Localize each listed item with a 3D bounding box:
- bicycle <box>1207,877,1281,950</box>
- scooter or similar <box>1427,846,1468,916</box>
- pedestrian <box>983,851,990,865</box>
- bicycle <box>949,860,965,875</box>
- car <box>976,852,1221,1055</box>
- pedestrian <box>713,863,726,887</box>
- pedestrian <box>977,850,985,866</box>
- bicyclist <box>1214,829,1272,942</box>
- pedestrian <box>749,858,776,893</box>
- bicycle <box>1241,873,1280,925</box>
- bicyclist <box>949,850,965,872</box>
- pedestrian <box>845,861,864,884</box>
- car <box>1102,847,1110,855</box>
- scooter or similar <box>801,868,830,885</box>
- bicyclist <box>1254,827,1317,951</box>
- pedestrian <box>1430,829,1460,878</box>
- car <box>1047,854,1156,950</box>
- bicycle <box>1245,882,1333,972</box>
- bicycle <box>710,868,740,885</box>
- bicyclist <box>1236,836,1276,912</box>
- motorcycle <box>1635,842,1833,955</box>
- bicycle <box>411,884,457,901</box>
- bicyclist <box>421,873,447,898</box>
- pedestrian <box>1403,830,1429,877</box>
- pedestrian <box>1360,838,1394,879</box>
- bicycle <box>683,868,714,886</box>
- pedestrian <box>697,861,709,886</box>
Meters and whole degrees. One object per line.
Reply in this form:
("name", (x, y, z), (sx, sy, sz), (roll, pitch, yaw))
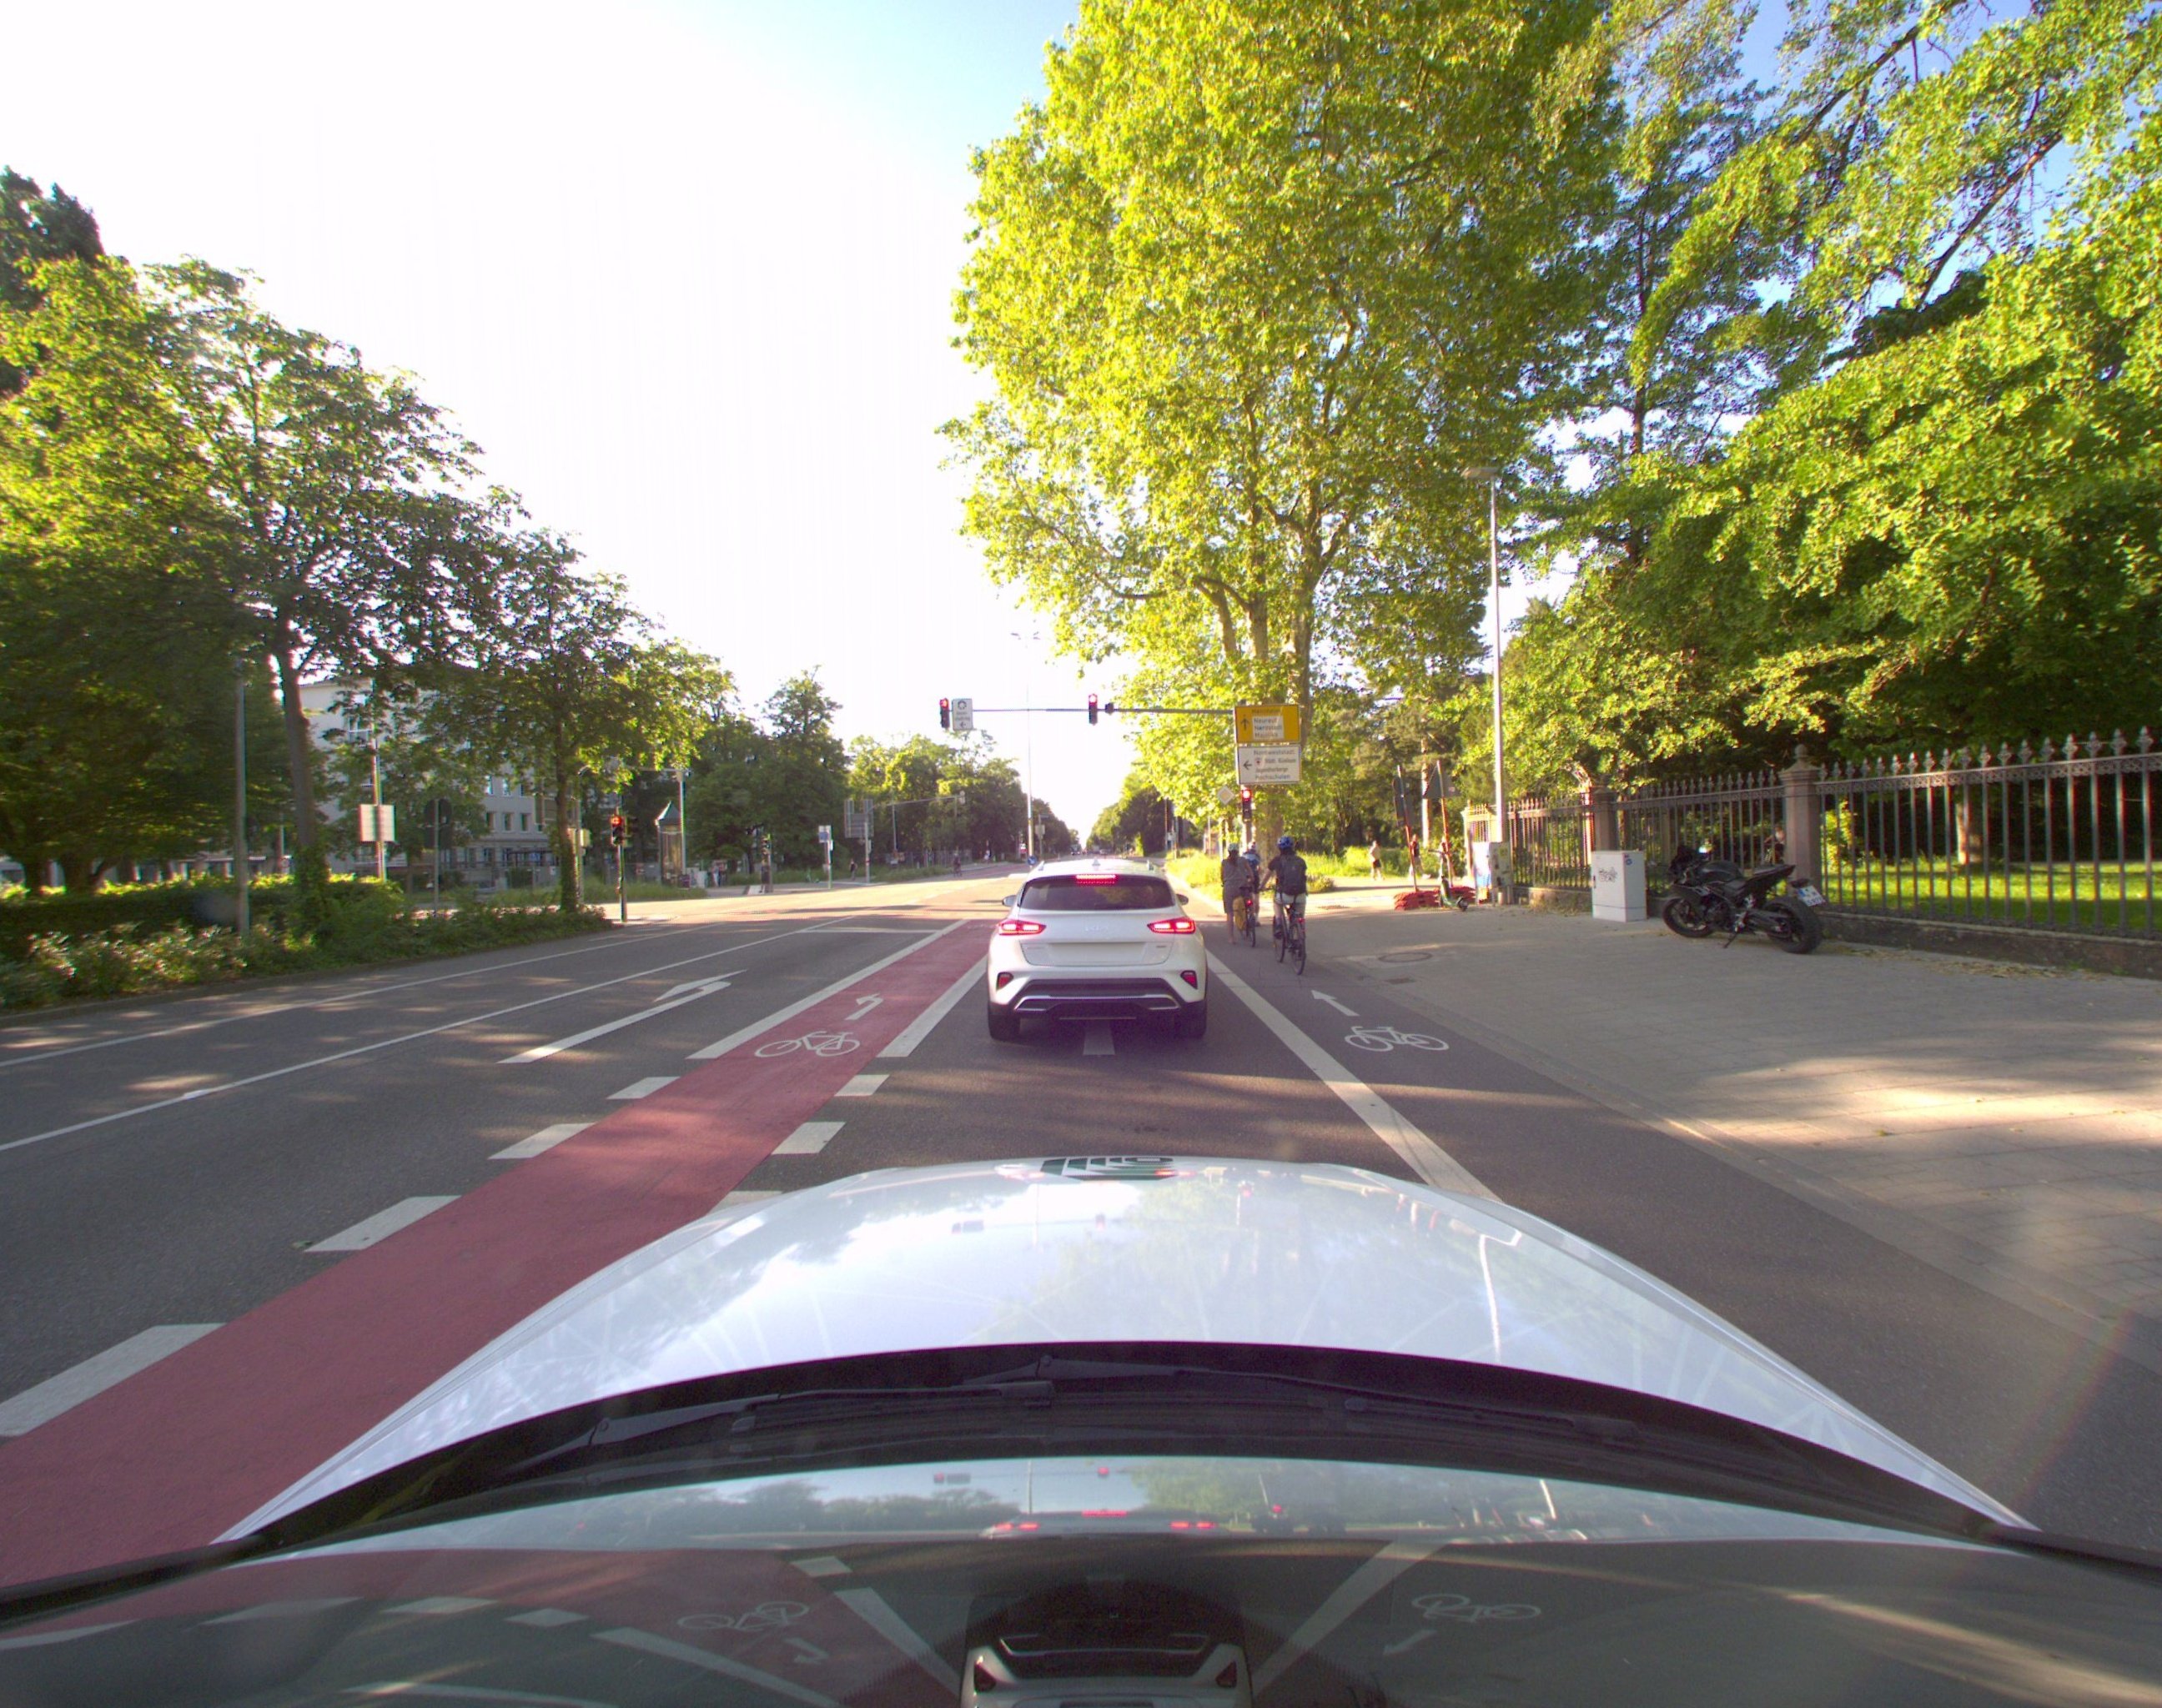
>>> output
("bicycle", (2.677, 0.945, 13.670), (0.755, 1.013, 2.569), (0, 0, 0))
("scooter or similar", (7.219, 0.515, 16.060), (0.227, 1.327, 1.172), (-3, 0, 0))
("pedestrian", (-11.915, 0.479, 102.773), (0.782, 1.785, 0.751), (-1, -1, 2))
("bicycle", (-9.303, 1.001, 61.126), (0.660, 0.989, 2.507), (-3, 0, 4))
("car", (0.147, 0.740, 8.058), (1.815, 1.480, 3.936), (-1, 0, 0))
("pedestrian", (-24.139, 1.374, 54.383), (0.628, 1.580, 0.444), (-1, -1, -8))
("pedestrian", (-12.713, 0.517, 103.518), (0.636, 2.014, 0.756), (-1, -1, 16))
("bicyclist", (2.675, 0.503, 13.565), (0.750, 1.795, 1.165), (0, 0, 0))
("pedestrian", (-18.708, 1.253, 47.838), (0.990, 2.014, 1.193), (-1, -1, 7))
("bicycle", (3.647, 0.900, 16.639), (0.400, 0.956, 1.551), (-5, 0, 0))
("bicyclist", (-9.319, 0.506, 61.239), (0.871, 1.608, 1.189), (-3, 0, 4))
("pedestrian", (-16.572, 1.375, 59.666), (1.086, 1.603, 0.999), (-3, 0, -5))
("car", (6.876, -0.887, 224.732), (1.986, 2.013, 4.002), (-3, 0, 2))
("scooter or similar", (-18.590, 1.561, 57.075), (0.703, 1.124, 1.933), (-1, 0, 34))
("bicyclist", (2.724, 0.447, 10.897), (0.663, 1.602, 0.721), (-1, 0, 0))
("pedestrian", (13.116, -0.025, 29.378), (0.688, 1.699, 0.643), (-3, 0, -5))
("car", (0.346, 0.782, 15.130), (1.723, 1.483, 3.516), (-3, 0, 0))
("bicycle", (2.732, 0.923, 10.921), (0.666, 1.009, 2.081), (-1, 0, 0))
("bicycle", (-23.938, 1.516, 54.756), (1.859, 1.148, 0.290), (-1, -1, -6))
("bicyclist", (3.570, 0.394, 16.627), (0.552, 1.478, 0.717), (-5, -1, 0))
("motorcycle", (7.462, 0.466, 9.470), (0.504, 1.131, 2.170), (-4, 0, 0))
("bicycle", (-44.407, 2.640, 55.886), (2.695, 0.989, 0.582), (-3, 0, 2))
("bicyclist", (-44.398, 2.143, 55.887), (0.970, 1.606, 0.878), (-3, 0, 2))
("pedestrian", (12.861, -0.026, 31.263), (0.811, 1.771, 0.836), (-3, 0, 18))
("pedestrian", (11.256, 0.170, 30.967), (0.820, 1.518, 0.911), (-1, -1, -16))
("bicycle", (-25.847, 1.543, 55.080), (1.859, 1.148, 0.442), (-1, -1, -6))
("pedestrian", (-25.413, 1.318, 54.729), (0.628, 1.642, 0.444), (-1, -1, -8))
